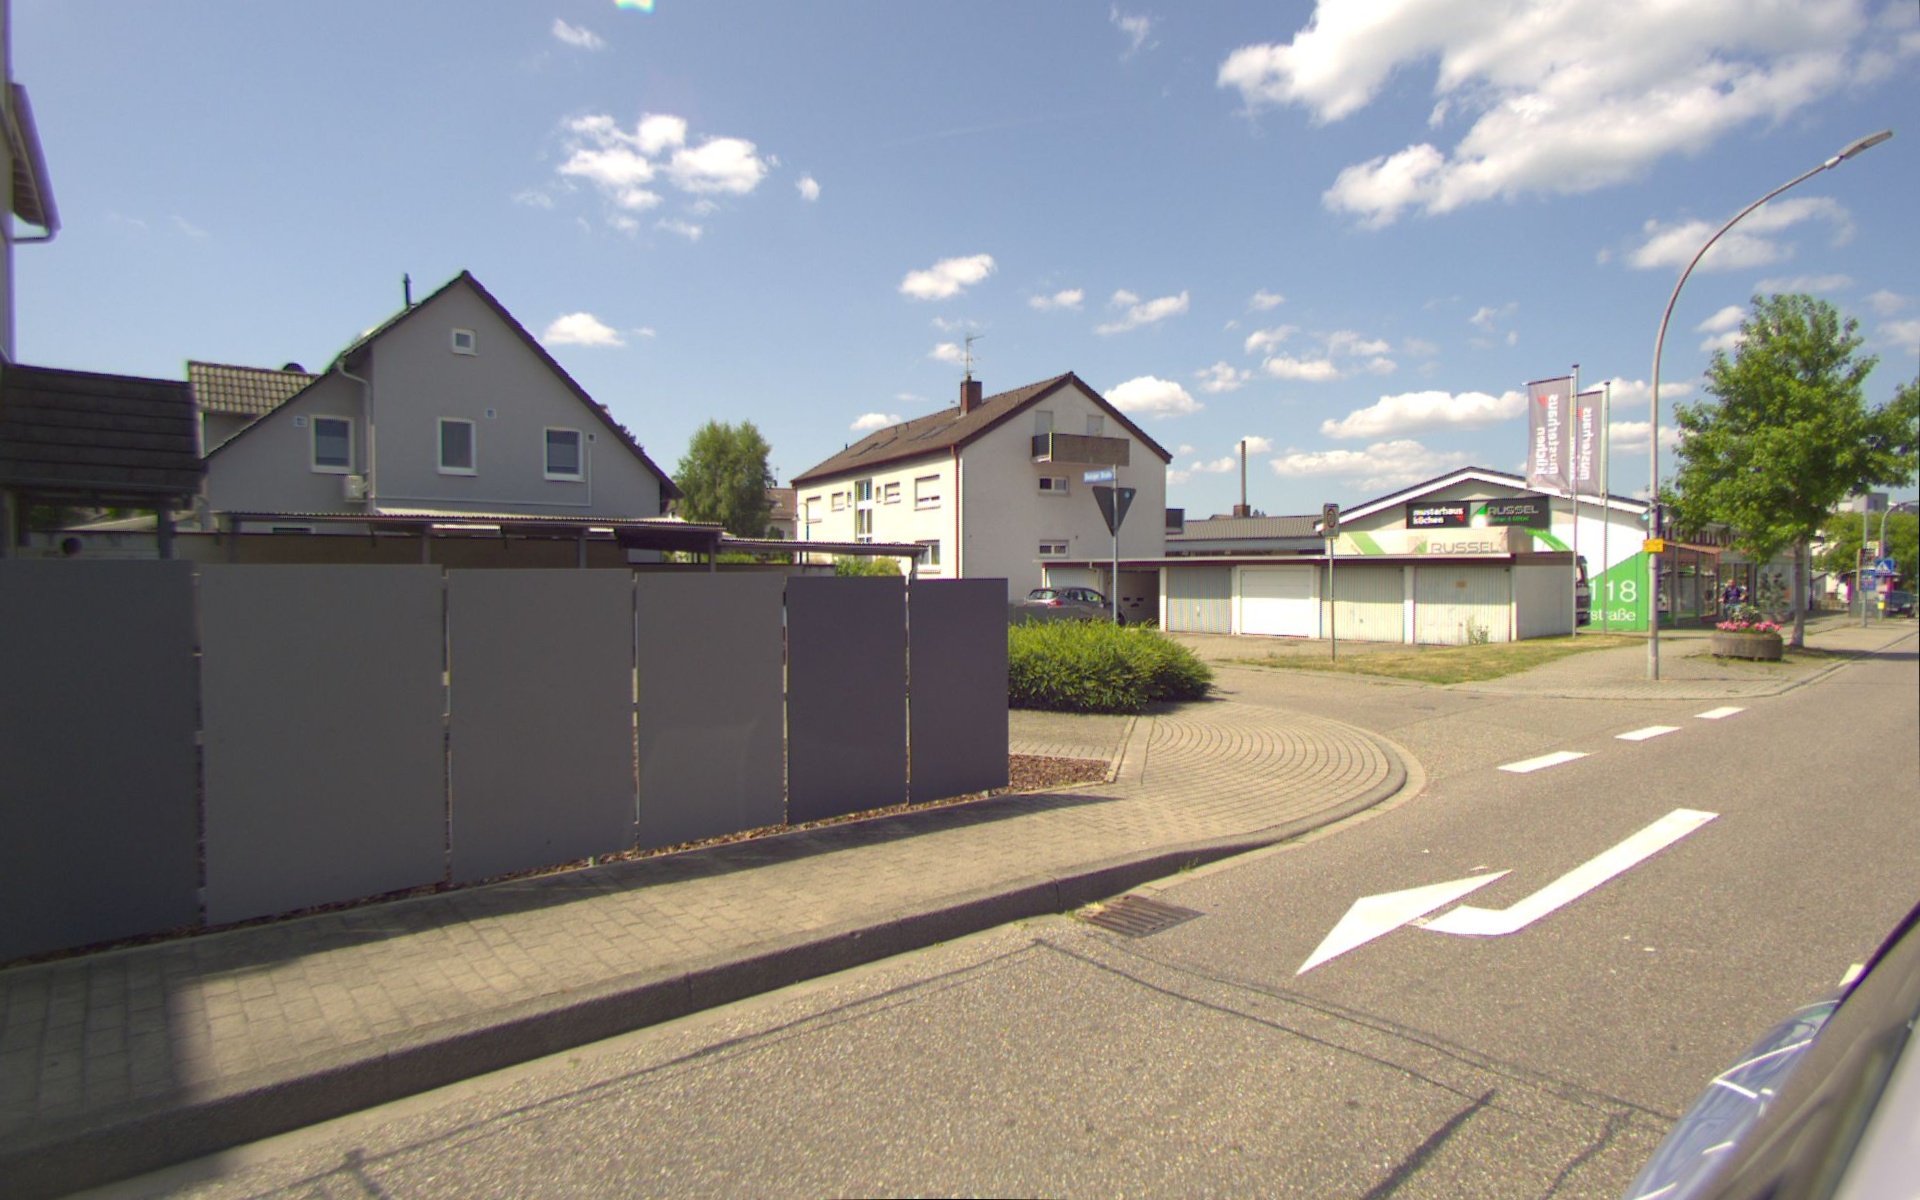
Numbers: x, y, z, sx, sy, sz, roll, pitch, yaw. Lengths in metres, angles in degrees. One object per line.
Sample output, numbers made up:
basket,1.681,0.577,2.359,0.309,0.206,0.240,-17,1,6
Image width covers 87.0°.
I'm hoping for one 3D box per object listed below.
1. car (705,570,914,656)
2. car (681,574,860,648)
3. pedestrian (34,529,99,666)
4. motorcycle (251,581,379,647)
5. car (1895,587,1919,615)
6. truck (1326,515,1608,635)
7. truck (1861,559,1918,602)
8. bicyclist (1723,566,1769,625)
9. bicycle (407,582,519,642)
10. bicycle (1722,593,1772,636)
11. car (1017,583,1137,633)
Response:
car,-3.166,0.276,21.781,4.140,1.669,1.740,2,0,-40
car,-4.455,0.260,24.011,3.784,1.607,1.740,2,0,-40
pedestrian,-10.431,-0.036,11.826,0.525,1.548,0.483,0,0,-37
motorcycle,-12.034,0.267,18.918,1.917,1.178,0.649,2,-1,-39
car,54.720,0.055,57.797,3.698,1.511,1.727,-1,3,-44
truck,16.923,-0.817,34.373,2.633,3.617,8.178,-2,2,-43
truck,63.945,-1.392,69.709,2.570,2.795,6.242,2,2,41
bicyclist,22.696,-0.113,29.216,1.093,1.651,0.803,1,-4,-44
bicycle,-10.100,0.251,20.599,1.917,1.187,0.649,2,-1,-39
bicycle,22.731,0.413,29.215,1.911,1.180,0.803,0,-3,-44
car,3.870,0.224,33.115,4.061,1.522,1.677,-1,1,-42
